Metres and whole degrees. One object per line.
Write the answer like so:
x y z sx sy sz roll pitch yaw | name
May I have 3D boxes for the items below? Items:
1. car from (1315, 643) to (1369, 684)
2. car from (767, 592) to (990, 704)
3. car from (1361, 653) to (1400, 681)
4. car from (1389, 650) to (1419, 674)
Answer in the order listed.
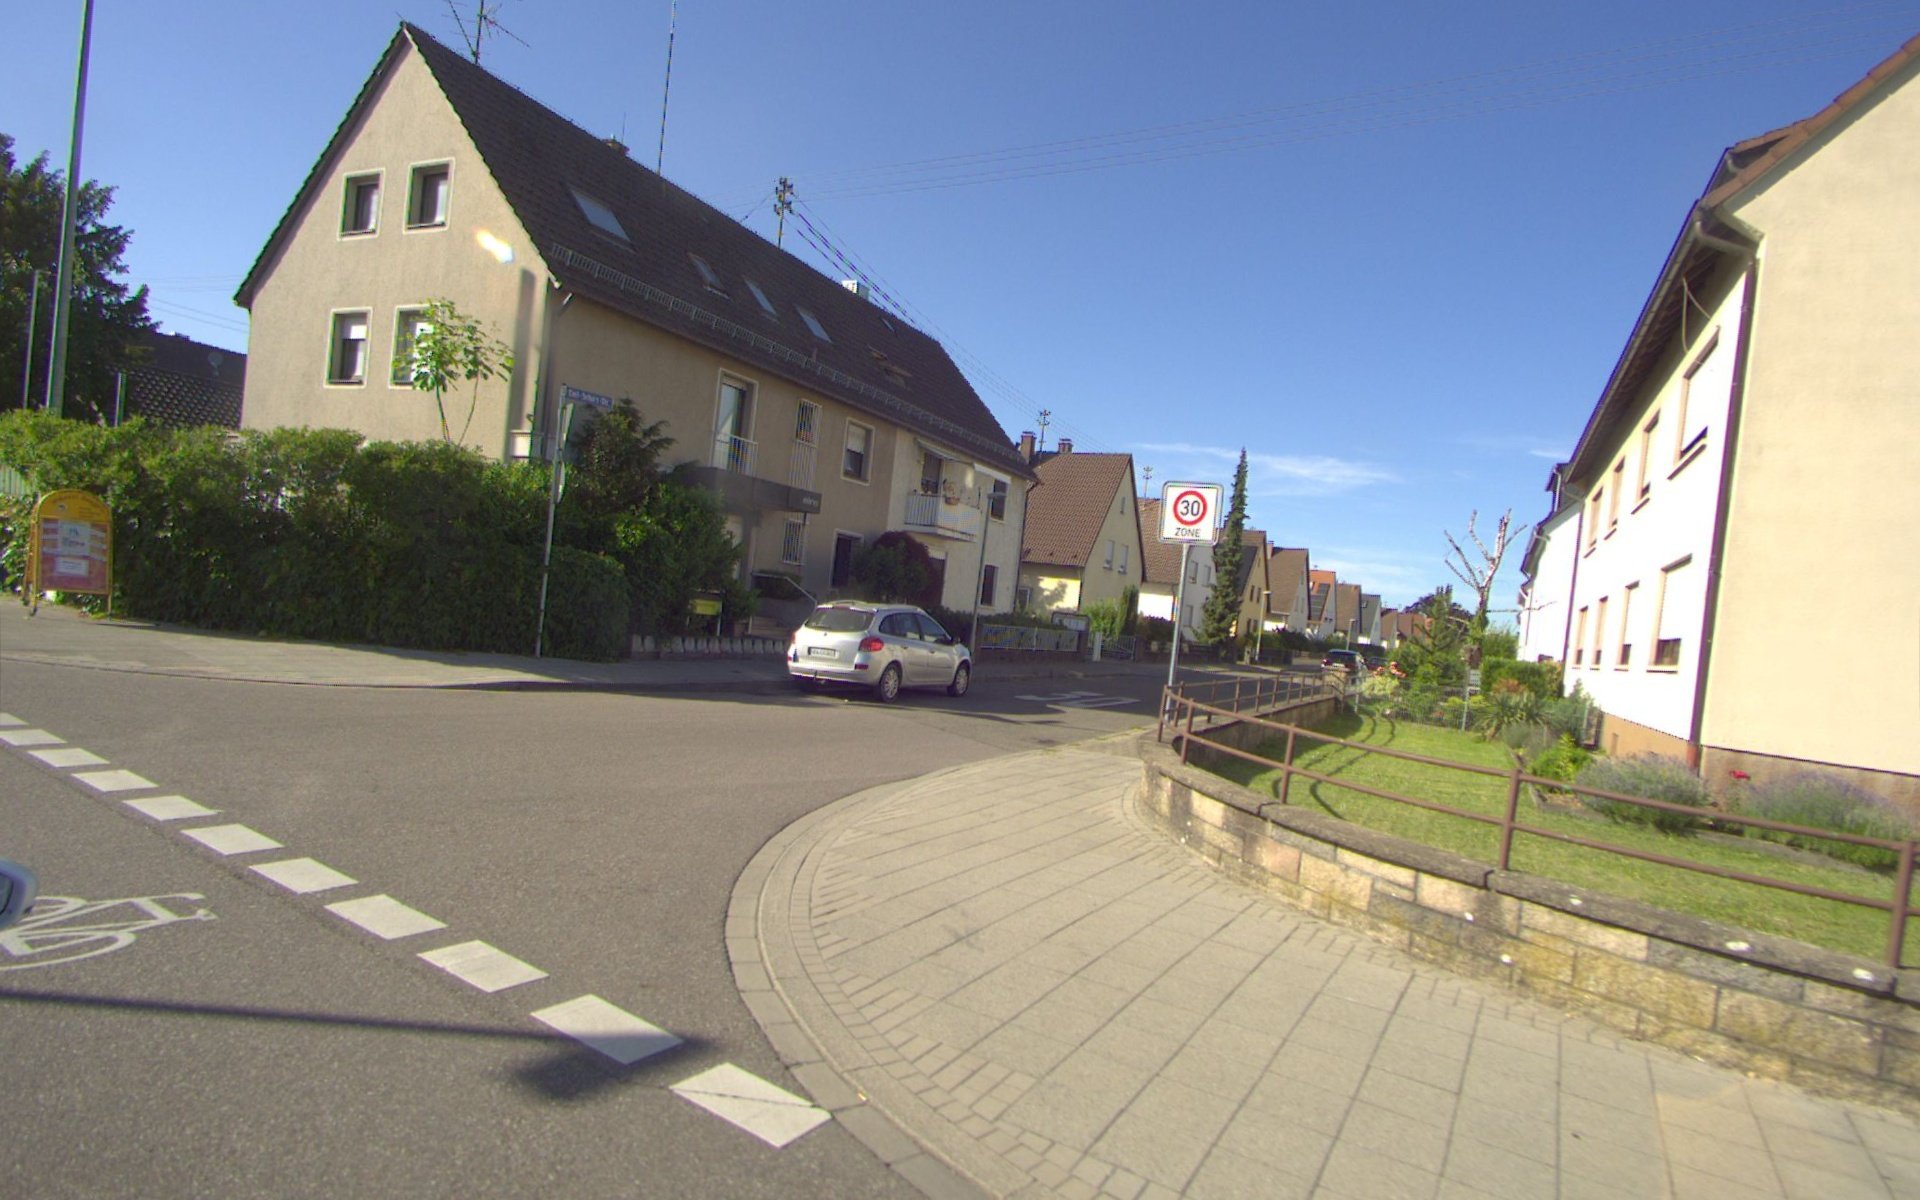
18.149 2.991 47.709 1.882 1.706 4.224 5 -1 26 | car
-1.213 0.812 16.976 1.770 1.530 4.148 5 -1 26 | car
25.990 4.119 62.099 1.831 1.486 4.110 5 -1 26 | car
34.945 4.841 79.092 1.844 1.641 4.148 5 -1 26 | car
